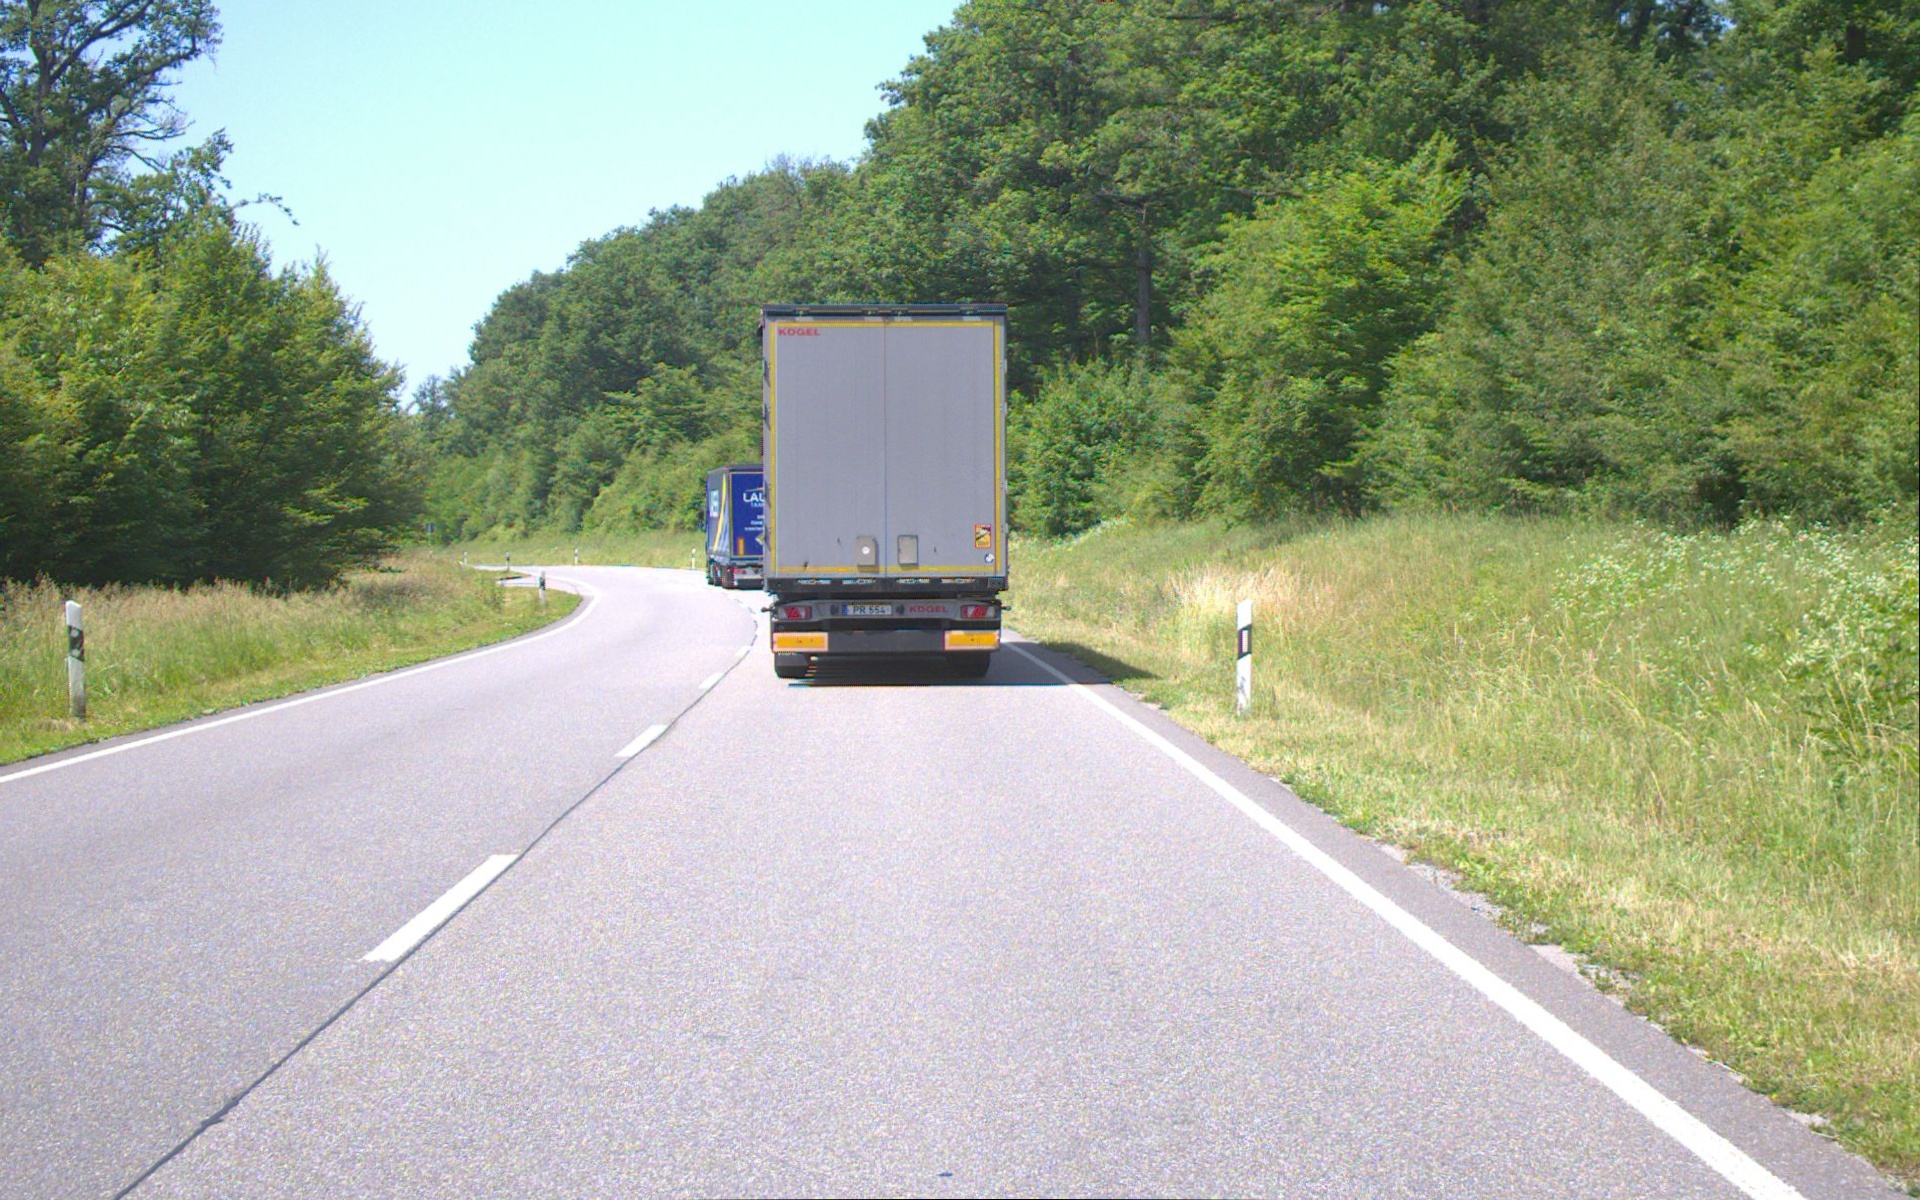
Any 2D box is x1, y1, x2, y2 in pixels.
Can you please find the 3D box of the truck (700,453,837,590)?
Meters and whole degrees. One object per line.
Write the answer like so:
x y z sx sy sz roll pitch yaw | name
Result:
-6.628 -2.621 116.485 3.792 4.358 14.923 0 1 -6 | truck

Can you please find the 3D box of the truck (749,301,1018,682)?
-0.964 -1.235 41.783 2.761 3.933 12.199 0 1 -2 | truck
